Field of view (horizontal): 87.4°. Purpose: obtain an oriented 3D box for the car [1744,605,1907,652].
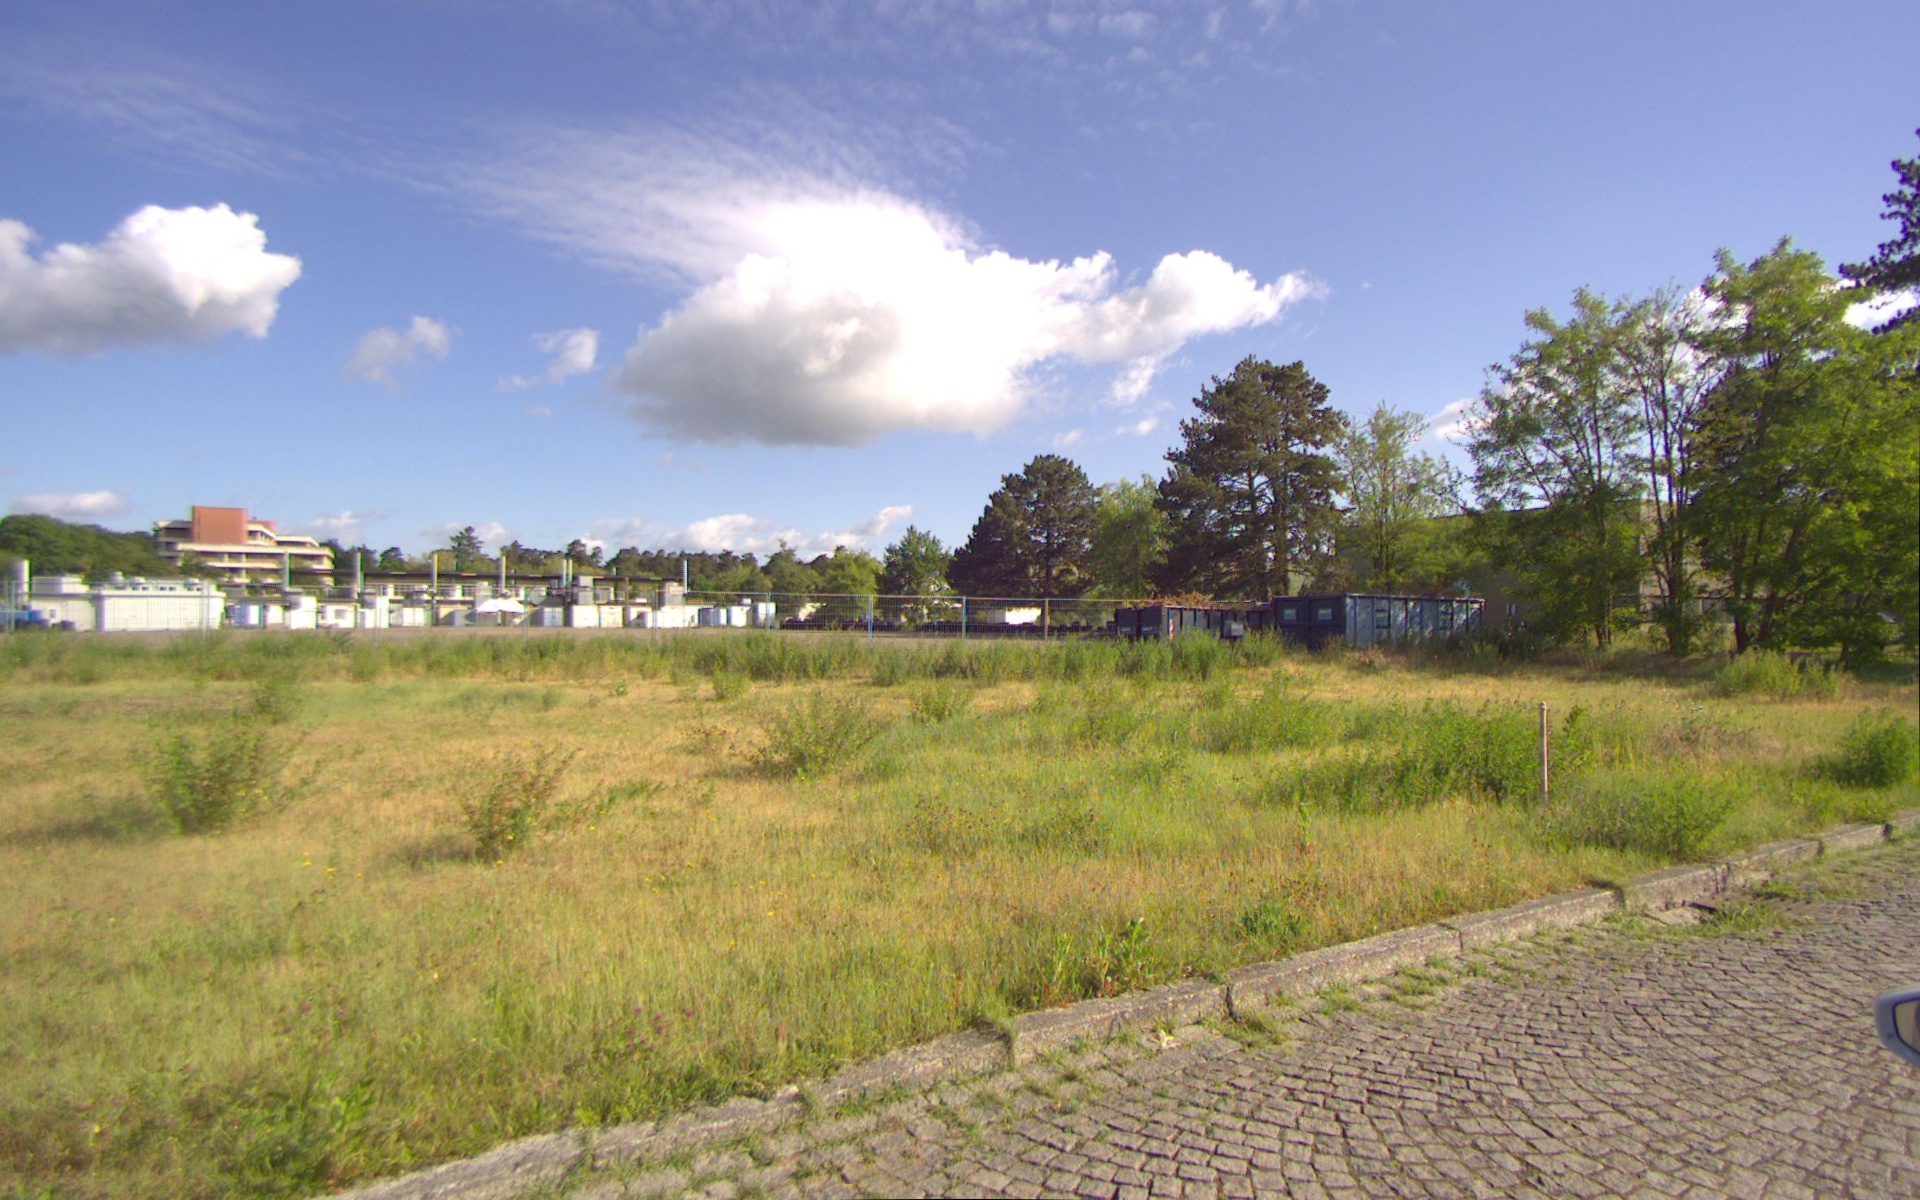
[{"bbox_3d":[31.849,1.022,37.087,1.985,1.630,4.127,0,-1,-28],"label":"car"}]
